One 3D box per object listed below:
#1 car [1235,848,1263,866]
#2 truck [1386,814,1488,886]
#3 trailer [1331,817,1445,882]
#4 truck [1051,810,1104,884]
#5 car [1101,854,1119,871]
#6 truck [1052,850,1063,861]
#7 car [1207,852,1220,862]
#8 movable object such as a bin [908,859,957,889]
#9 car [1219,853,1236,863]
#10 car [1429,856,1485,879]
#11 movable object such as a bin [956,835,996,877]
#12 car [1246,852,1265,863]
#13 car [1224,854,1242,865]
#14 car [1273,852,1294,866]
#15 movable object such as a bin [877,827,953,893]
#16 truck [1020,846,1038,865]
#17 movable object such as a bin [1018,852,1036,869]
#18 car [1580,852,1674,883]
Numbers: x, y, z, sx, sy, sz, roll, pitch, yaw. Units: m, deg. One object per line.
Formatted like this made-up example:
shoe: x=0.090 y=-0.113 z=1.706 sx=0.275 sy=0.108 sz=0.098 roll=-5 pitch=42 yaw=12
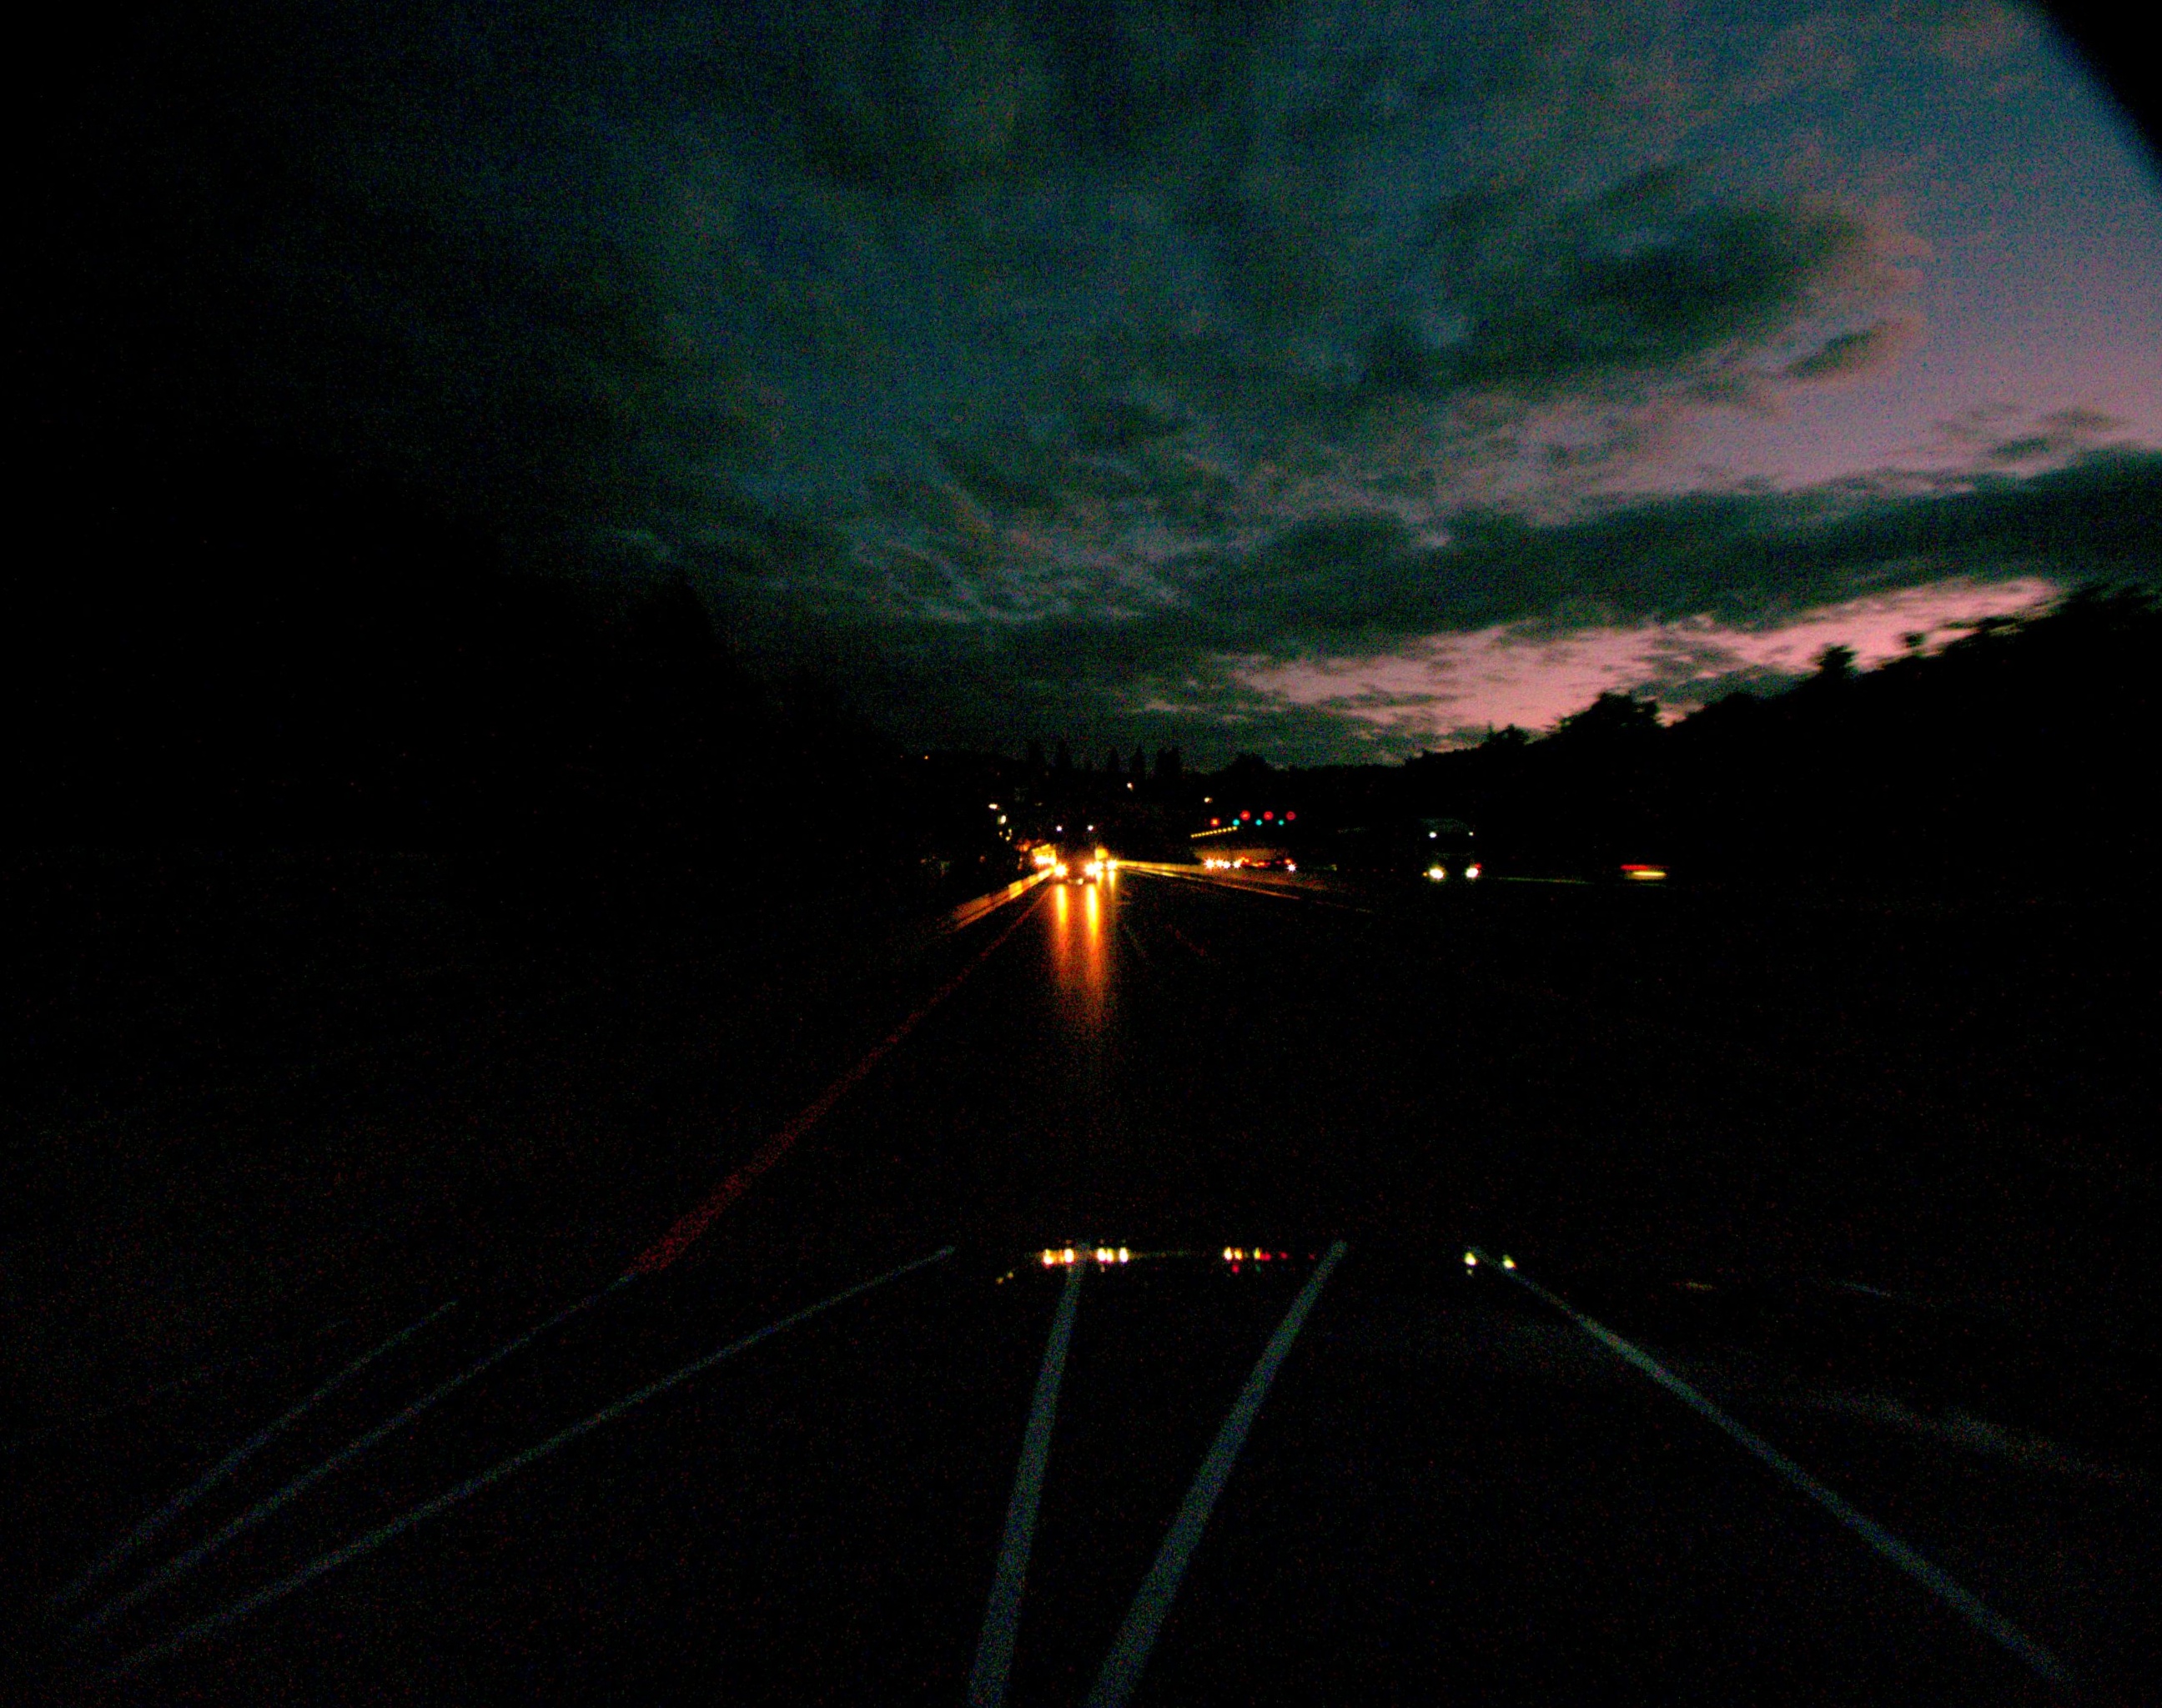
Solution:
car: x=18.713 y=0.301 z=84.700 sx=2.095 sy=1.873 sz=4.700 roll=-3 pitch=1 yaw=1
truck: x=20.389 y=-0.226 z=43.953 sx=2.810 sy=3.753 sz=6.301 roll=-3 pitch=1 yaw=0
trailer: x=20.422 y=-0.301 z=51.685 sx=2.806 sy=3.761 sz=11.833 roll=-3 pitch=1 yaw=0
truck: x=-0.191 y=-0.468 z=50.302 sx=2.954 sy=4.241 sz=11.051 roll=-3 pitch=1 yaw=0
car: x=3.111 y=0.891 z=81.684 sx=1.662 sy=1.586 sz=3.997 roll=-3 pitch=1 yaw=5
truck: x=-6.463 y=0.445 z=207.331 sx=1.998 sy=2.817 sz=6.298 roll=-3 pitch=1 yaw=6
car: x=21.105 y=0.494 z=121.260 sx=1.509 sy=1.472 sz=3.824 roll=-3 pitch=1 yaw=1
movable object such as a bin: x=-8.515 y=1.110 z=43.920 sx=1.998 sy=1.592 sz=4.084 roll=0 pitch=1 yaw=0
car: x=25.319 y=0.645 z=131.547 sx=1.811 sy=1.579 sz=4.876 roll=-3 pitch=1 yaw=0
car: x=27.287 y=0.927 z=55.350 sx=1.815 sy=1.476 sz=4.701 roll=-3 pitch=1 yaw=2
movable object such as a bin: x=-8.506 y=0.158 z=62.227 sx=2.571 sy=3.299 sz=5.578 roll=0 pitch=1 yaw=-1
car: x=25.180 y=0.516 z=109.949 sx=1.755 sy=1.446 sz=4.670 roll=-3 pitch=1 yaw=1
car: x=21.413 y=0.727 z=107.261 sx=1.791 sy=1.472 sz=4.000 roll=-3 pitch=1 yaw=1
car: x=28.537 y=0.696 z=107.205 sx=1.755 sy=1.712 sz=4.669 roll=-3 pitch=1 yaw=0
movable object such as a bin: x=-8.368 y=0.277 z=38.949 sx=2.627 sy=3.090 sz=5.805 roll=-1 pitch=1 yaw=-1
truck: x=-9.961 y=0.237 z=146.280 sx=2.825 sy=3.267 sz=8.351 roll=-3 pitch=1 yaw=-1
movable object such as a bin: x=-9.559 y=1.077 z=135.458 sx=2.978 sy=2.811 sz=7.194 roll=-3 pitch=1 yaw=-2
car: x=29.980 y=0.692 z=41.919 sx=1.830 sy=1.476 sz=4.701 roll=-3 pitch=1 yaw=2
